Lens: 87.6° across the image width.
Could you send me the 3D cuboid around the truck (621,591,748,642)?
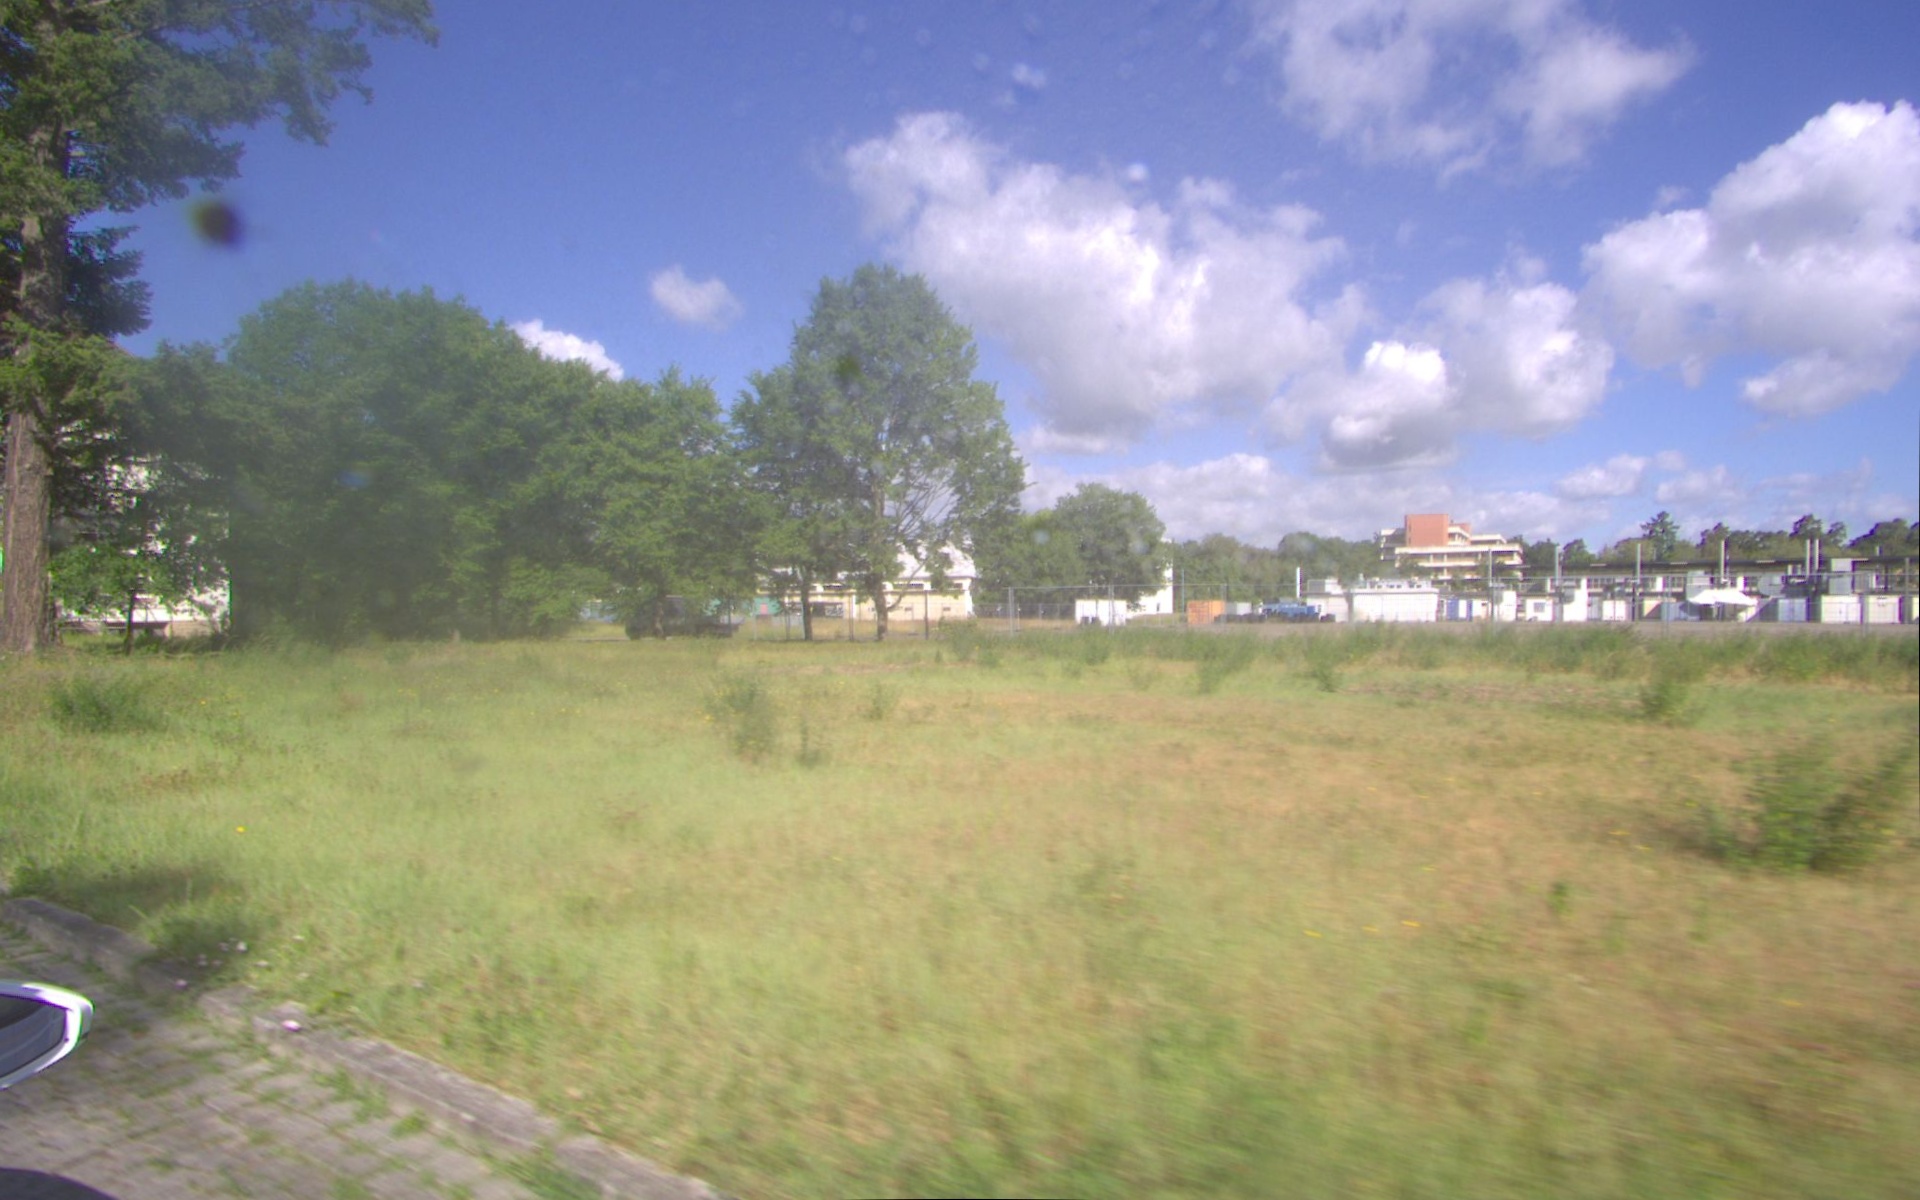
[{"bbox_3d":[-14.098,0.880,51.019,6.786,2.454,2.230,-1,-2,32],"label":"truck"}]
